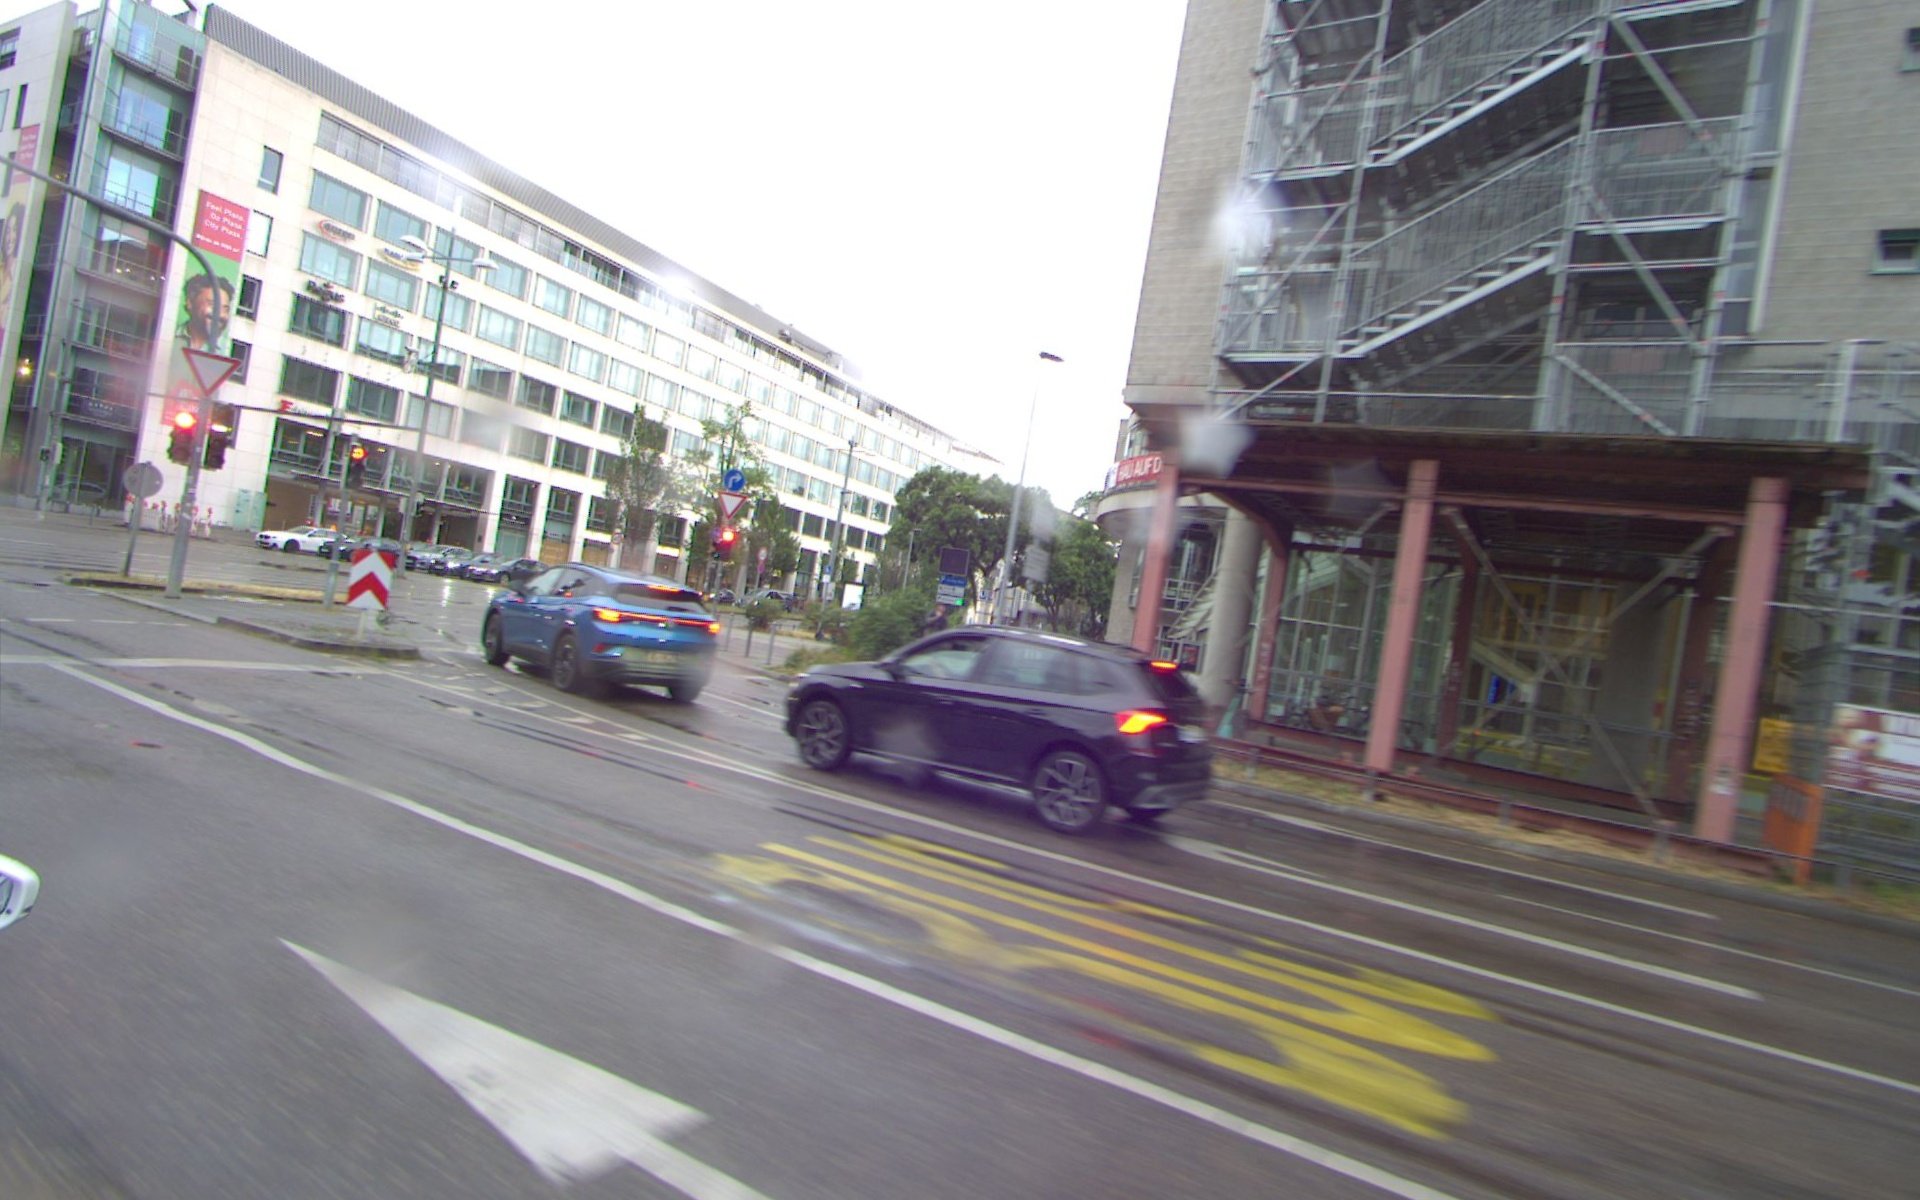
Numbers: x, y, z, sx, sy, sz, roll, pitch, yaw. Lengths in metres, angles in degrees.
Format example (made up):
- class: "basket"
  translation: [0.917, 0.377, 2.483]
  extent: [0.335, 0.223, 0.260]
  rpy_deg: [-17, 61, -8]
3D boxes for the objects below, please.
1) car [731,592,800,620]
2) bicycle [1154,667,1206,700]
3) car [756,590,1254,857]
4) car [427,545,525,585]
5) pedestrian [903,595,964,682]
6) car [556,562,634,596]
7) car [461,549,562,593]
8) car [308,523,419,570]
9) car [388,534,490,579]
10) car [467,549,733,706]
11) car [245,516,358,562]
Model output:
- class: "car"
  translation: [-14.383, 0.470, 74.378]
  extent: [4.597, 1.364, 1.914]
  rpy_deg: [9, -1, -27]
- class: "bicycle"
  translation: [8.451, 3.202, 38.744]
  extent: [1.816, 0.995, 0.757]
  rpy_deg: [8, -1, 12]
- class: "car"
  translation: [0.316, 0.976, 9.204]
  extent: [4.080, 1.558, 1.781]
  rpy_deg: [7, -1, 34]
- class: "car"
  translation: [-23.934, -1.704, 49.963]
  extent: [1.690, 1.364, 4.469]
  rpy_deg: [8, -1, 17]
- class: "pedestrian"
  translation: [-0.624, 0.884, 23.490]
  extent: [0.677, 1.874, 1.044]
  rpy_deg: [7, 0, -41]
- class: "car"
  translation: [-21.190, -1.170, 58.566]
  extent: [1.890, 1.364, 4.655]
  rpy_deg: [8, -1, 14]
- class: "car"
  translation: [-21.414, -1.336, 48.211]
  extent: [1.691, 1.481, 4.468]
  rpy_deg: [8, -1, 19]
- class: "car"
  translation: [-30.112, -2.666, 50.966]
  extent: [1.963, 1.616, 4.468]
  rpy_deg: [8, -1, 20]
- class: "car"
  translation: [-26.785, -2.183, 51.888]
  extent: [1.962, 1.616, 4.469]
  rpy_deg: [8, -1, 17]
- class: "car"
  translation: [-5.053, 0.294, 13.748]
  extent: [1.699, 1.547, 4.373]
  rpy_deg: [9, -1, -43]
- class: "car"
  translation: [-33.615, -3.084, 51.488]
  extent: [1.962, 1.616, 4.469]
  rpy_deg: [8, -1, 17]
